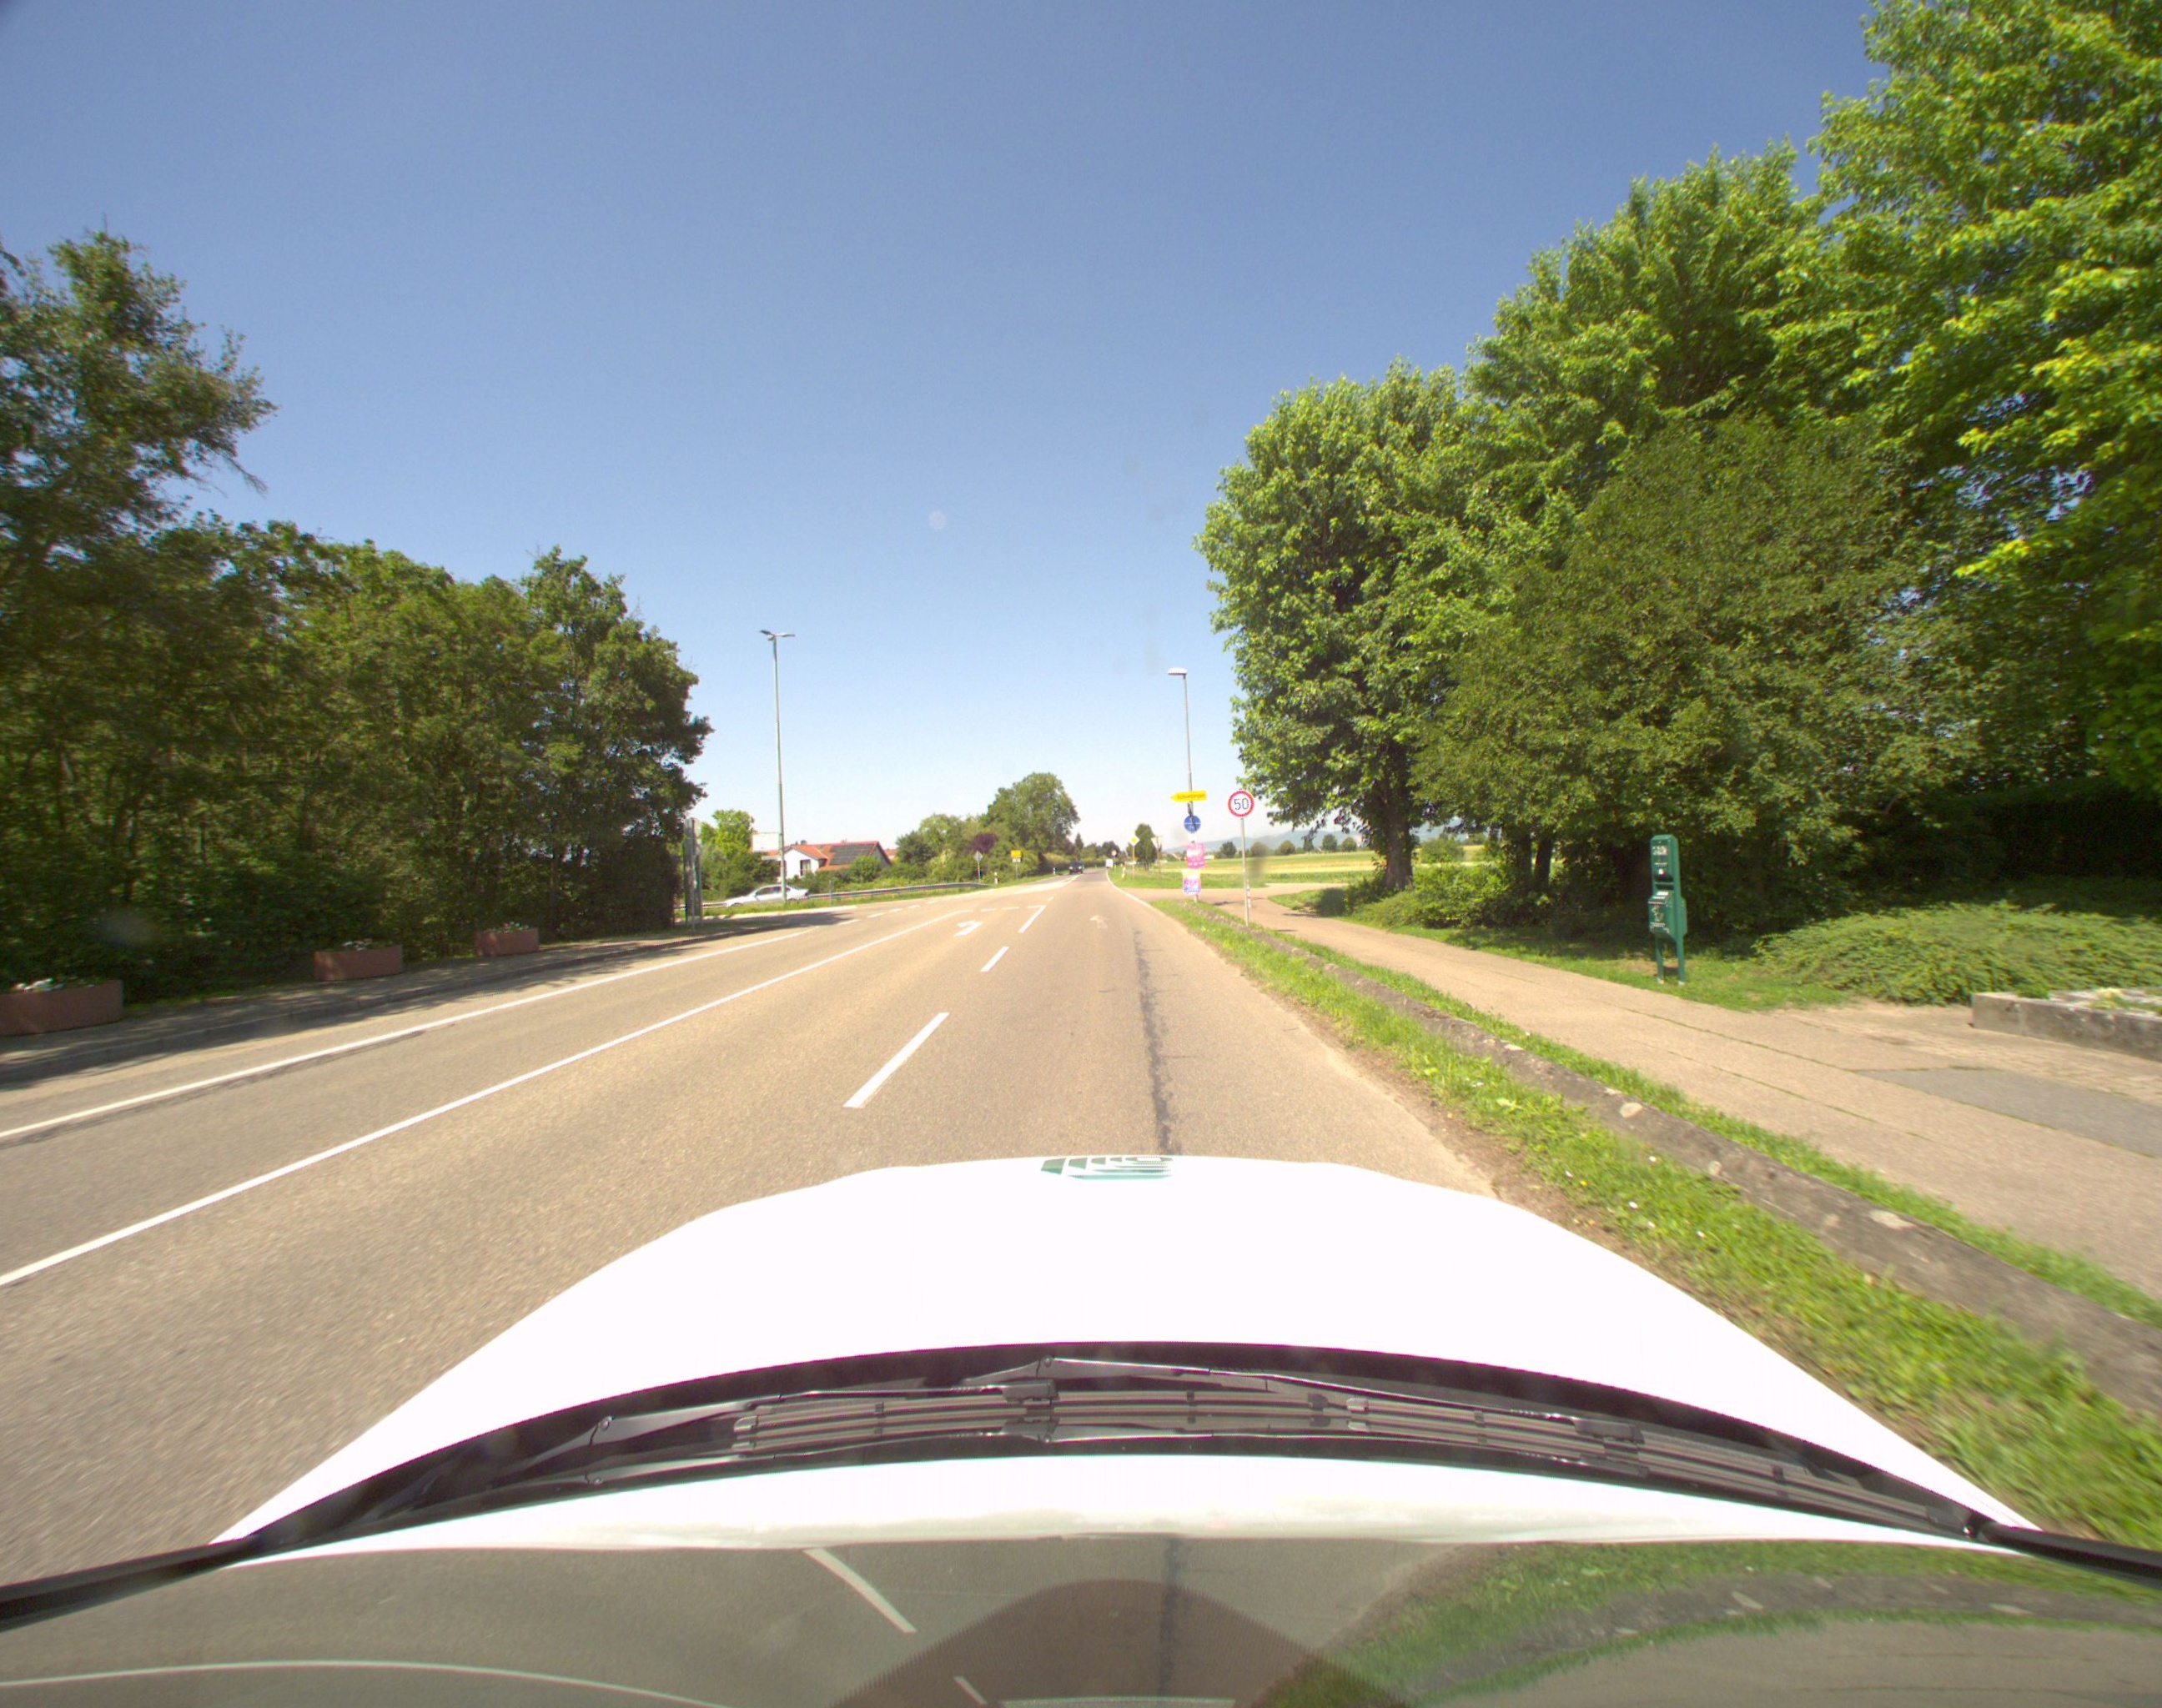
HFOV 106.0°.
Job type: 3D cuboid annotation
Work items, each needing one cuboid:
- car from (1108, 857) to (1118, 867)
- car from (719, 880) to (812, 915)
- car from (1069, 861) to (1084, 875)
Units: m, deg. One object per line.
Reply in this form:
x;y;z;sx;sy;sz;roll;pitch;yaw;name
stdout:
9.507;2.360;242.315;1.978;2.651;4.018;-4;0;17;car
-16.702;2.259;43.105;4.424;1.471;1.627;-3;-1;-26;car
-0.673;2.213;127.546;2.137;1.951;5.246;-3;0;0;car
